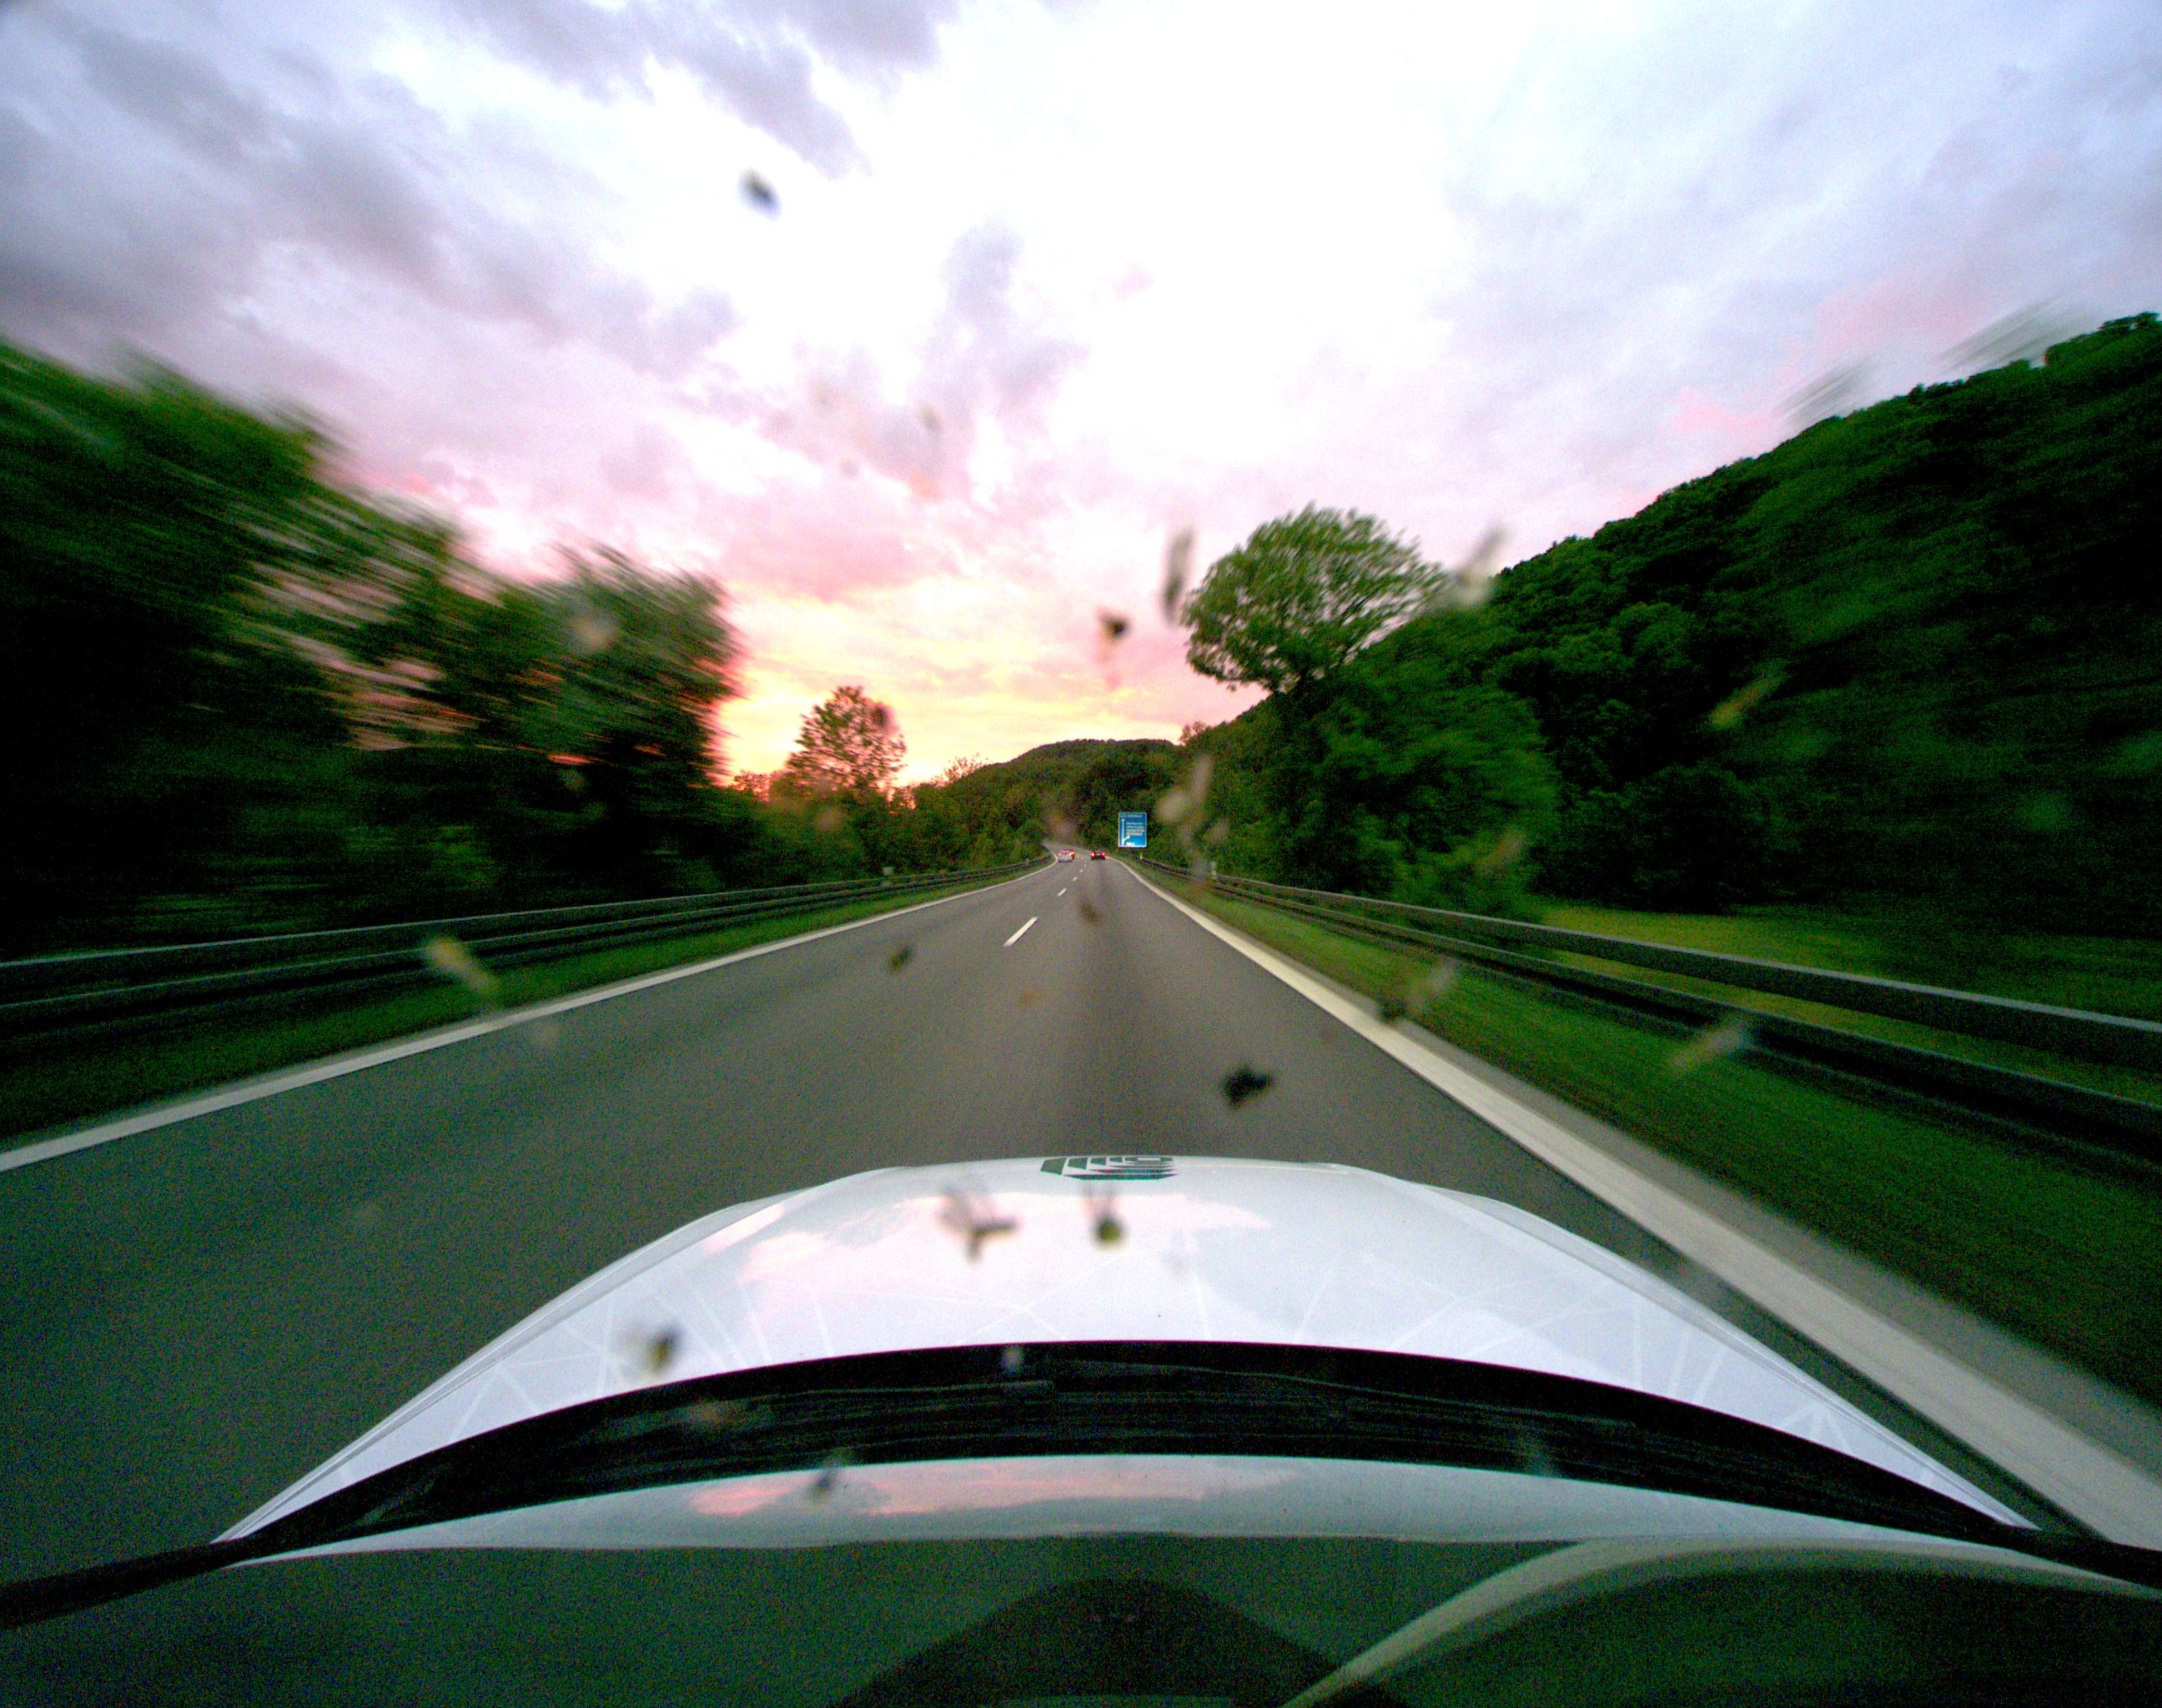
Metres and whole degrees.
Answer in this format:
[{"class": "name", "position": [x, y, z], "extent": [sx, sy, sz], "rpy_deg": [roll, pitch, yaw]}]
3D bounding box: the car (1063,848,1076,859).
[{"class": "car", "position": [-1.751, -0.057, 121.594], "extent": [1.712, 1.635, 4.001], "rpy_deg": [-1, 0, 1]}]

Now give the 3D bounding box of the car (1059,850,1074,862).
[{"class": "car", "position": [-1.923, 0.273, 108.667], "extent": [1.712, 1.501, 4.001], "rpy_deg": [-1, 0, 1]}]

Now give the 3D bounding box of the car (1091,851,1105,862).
[{"class": "car", "position": [2.377, 0.347, 113.139], "extent": [1.871, 1.466, 4.001], "rpy_deg": [-1, 0, 1]}]
